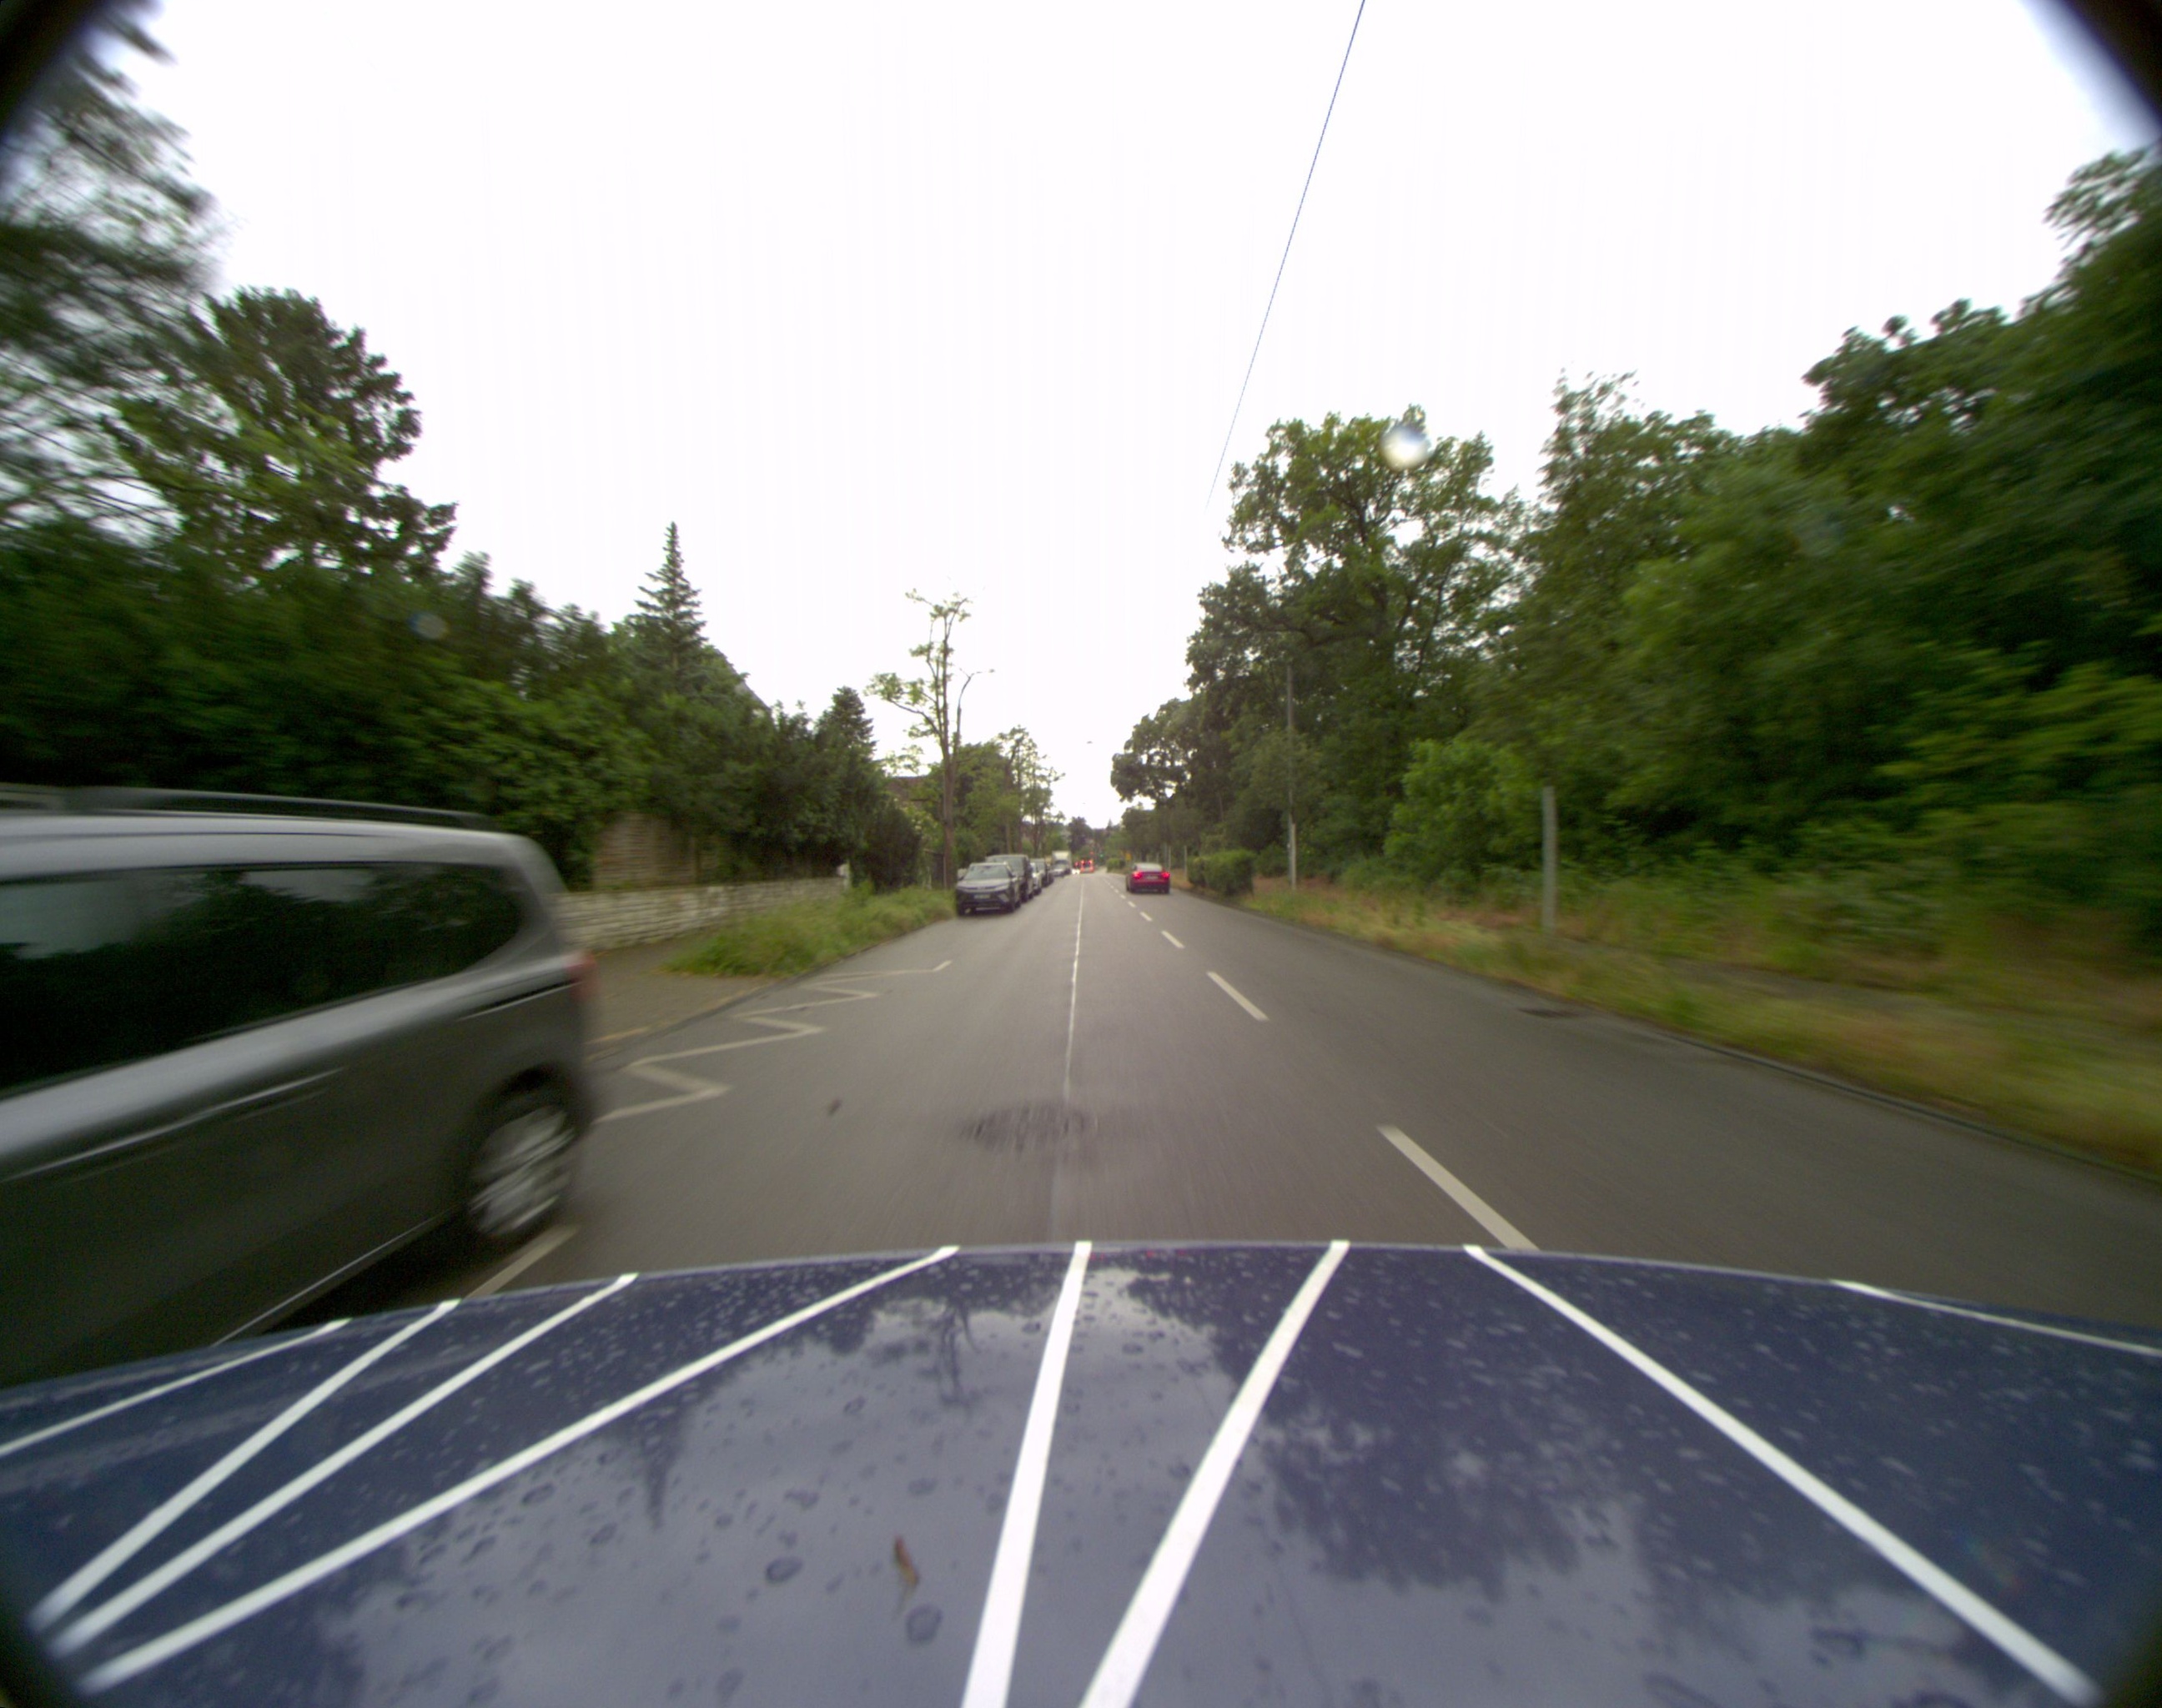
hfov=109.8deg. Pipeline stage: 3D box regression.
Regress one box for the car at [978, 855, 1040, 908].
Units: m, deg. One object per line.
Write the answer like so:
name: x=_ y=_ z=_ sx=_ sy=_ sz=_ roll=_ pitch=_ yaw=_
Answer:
car: x=-2.970 y=1.122 z=32.163 sx=1.998 sy=2.001 sz=4.889 roll=-2 pitch=-1 yaw=1

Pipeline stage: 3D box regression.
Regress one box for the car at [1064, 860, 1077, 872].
car: x=-1.343 y=1.573 z=98.807 sx=1.645 sy=1.455 sz=4.001 roll=-2 pitch=-1 yaw=0

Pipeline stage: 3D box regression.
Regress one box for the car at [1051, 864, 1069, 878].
car: x=-2.255 y=1.819 z=81.095 sx=1.786 sy=1.387 sz=4.000 roll=-2 pitch=-1 yaw=-1

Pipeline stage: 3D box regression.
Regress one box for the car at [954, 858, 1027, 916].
car: x=-2.932 y=1.059 z=25.478 sx=1.778 sy=1.712 sz=4.327 roll=-2 pitch=-1 yaw=1

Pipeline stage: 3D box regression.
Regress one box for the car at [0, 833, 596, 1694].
car: x=-3.203 y=0.890 z=1.448 sx=1.819 sy=1.802 sz=4.283 roll=-2 pitch=-1 yaw=-1

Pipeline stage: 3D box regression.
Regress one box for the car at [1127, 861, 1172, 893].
car: x=3.237 y=1.072 z=36.778 sx=1.865 sy=1.471 sz=4.156 roll=0 pitch=0 yaw=1

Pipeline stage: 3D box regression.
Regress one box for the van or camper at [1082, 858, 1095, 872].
van or camper: x=1.897 y=2.737 z=185.258 sx=2.862 sy=3.159 sz=6.852 roll=-2 pitch=-1 yaw=3

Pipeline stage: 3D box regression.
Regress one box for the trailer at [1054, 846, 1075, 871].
trailer: x=-2.335 y=0.707 z=109.879 sx=2.741 sy=3.487 sz=8.248 roll=-2 pitch=-1 yaw=0

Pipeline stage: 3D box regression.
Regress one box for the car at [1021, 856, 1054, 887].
car: x=-2.715 y=1.104 z=48.568 sx=1.734 sy=1.836 sz=4.231 roll=-2 pitch=-1 yaw=1

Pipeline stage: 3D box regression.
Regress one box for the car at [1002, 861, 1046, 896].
car: x=-2.809 y=1.191 z=38.331 sx=1.809 sy=1.603 sz=4.286 roll=-2 pitch=-1 yaw=0

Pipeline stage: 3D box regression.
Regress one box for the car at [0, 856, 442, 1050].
car: x=-9.811 y=0.923 z=8.096 sx=4.319 sy=1.672 sz=2.000 roll=2 pitch=1 yaw=1
